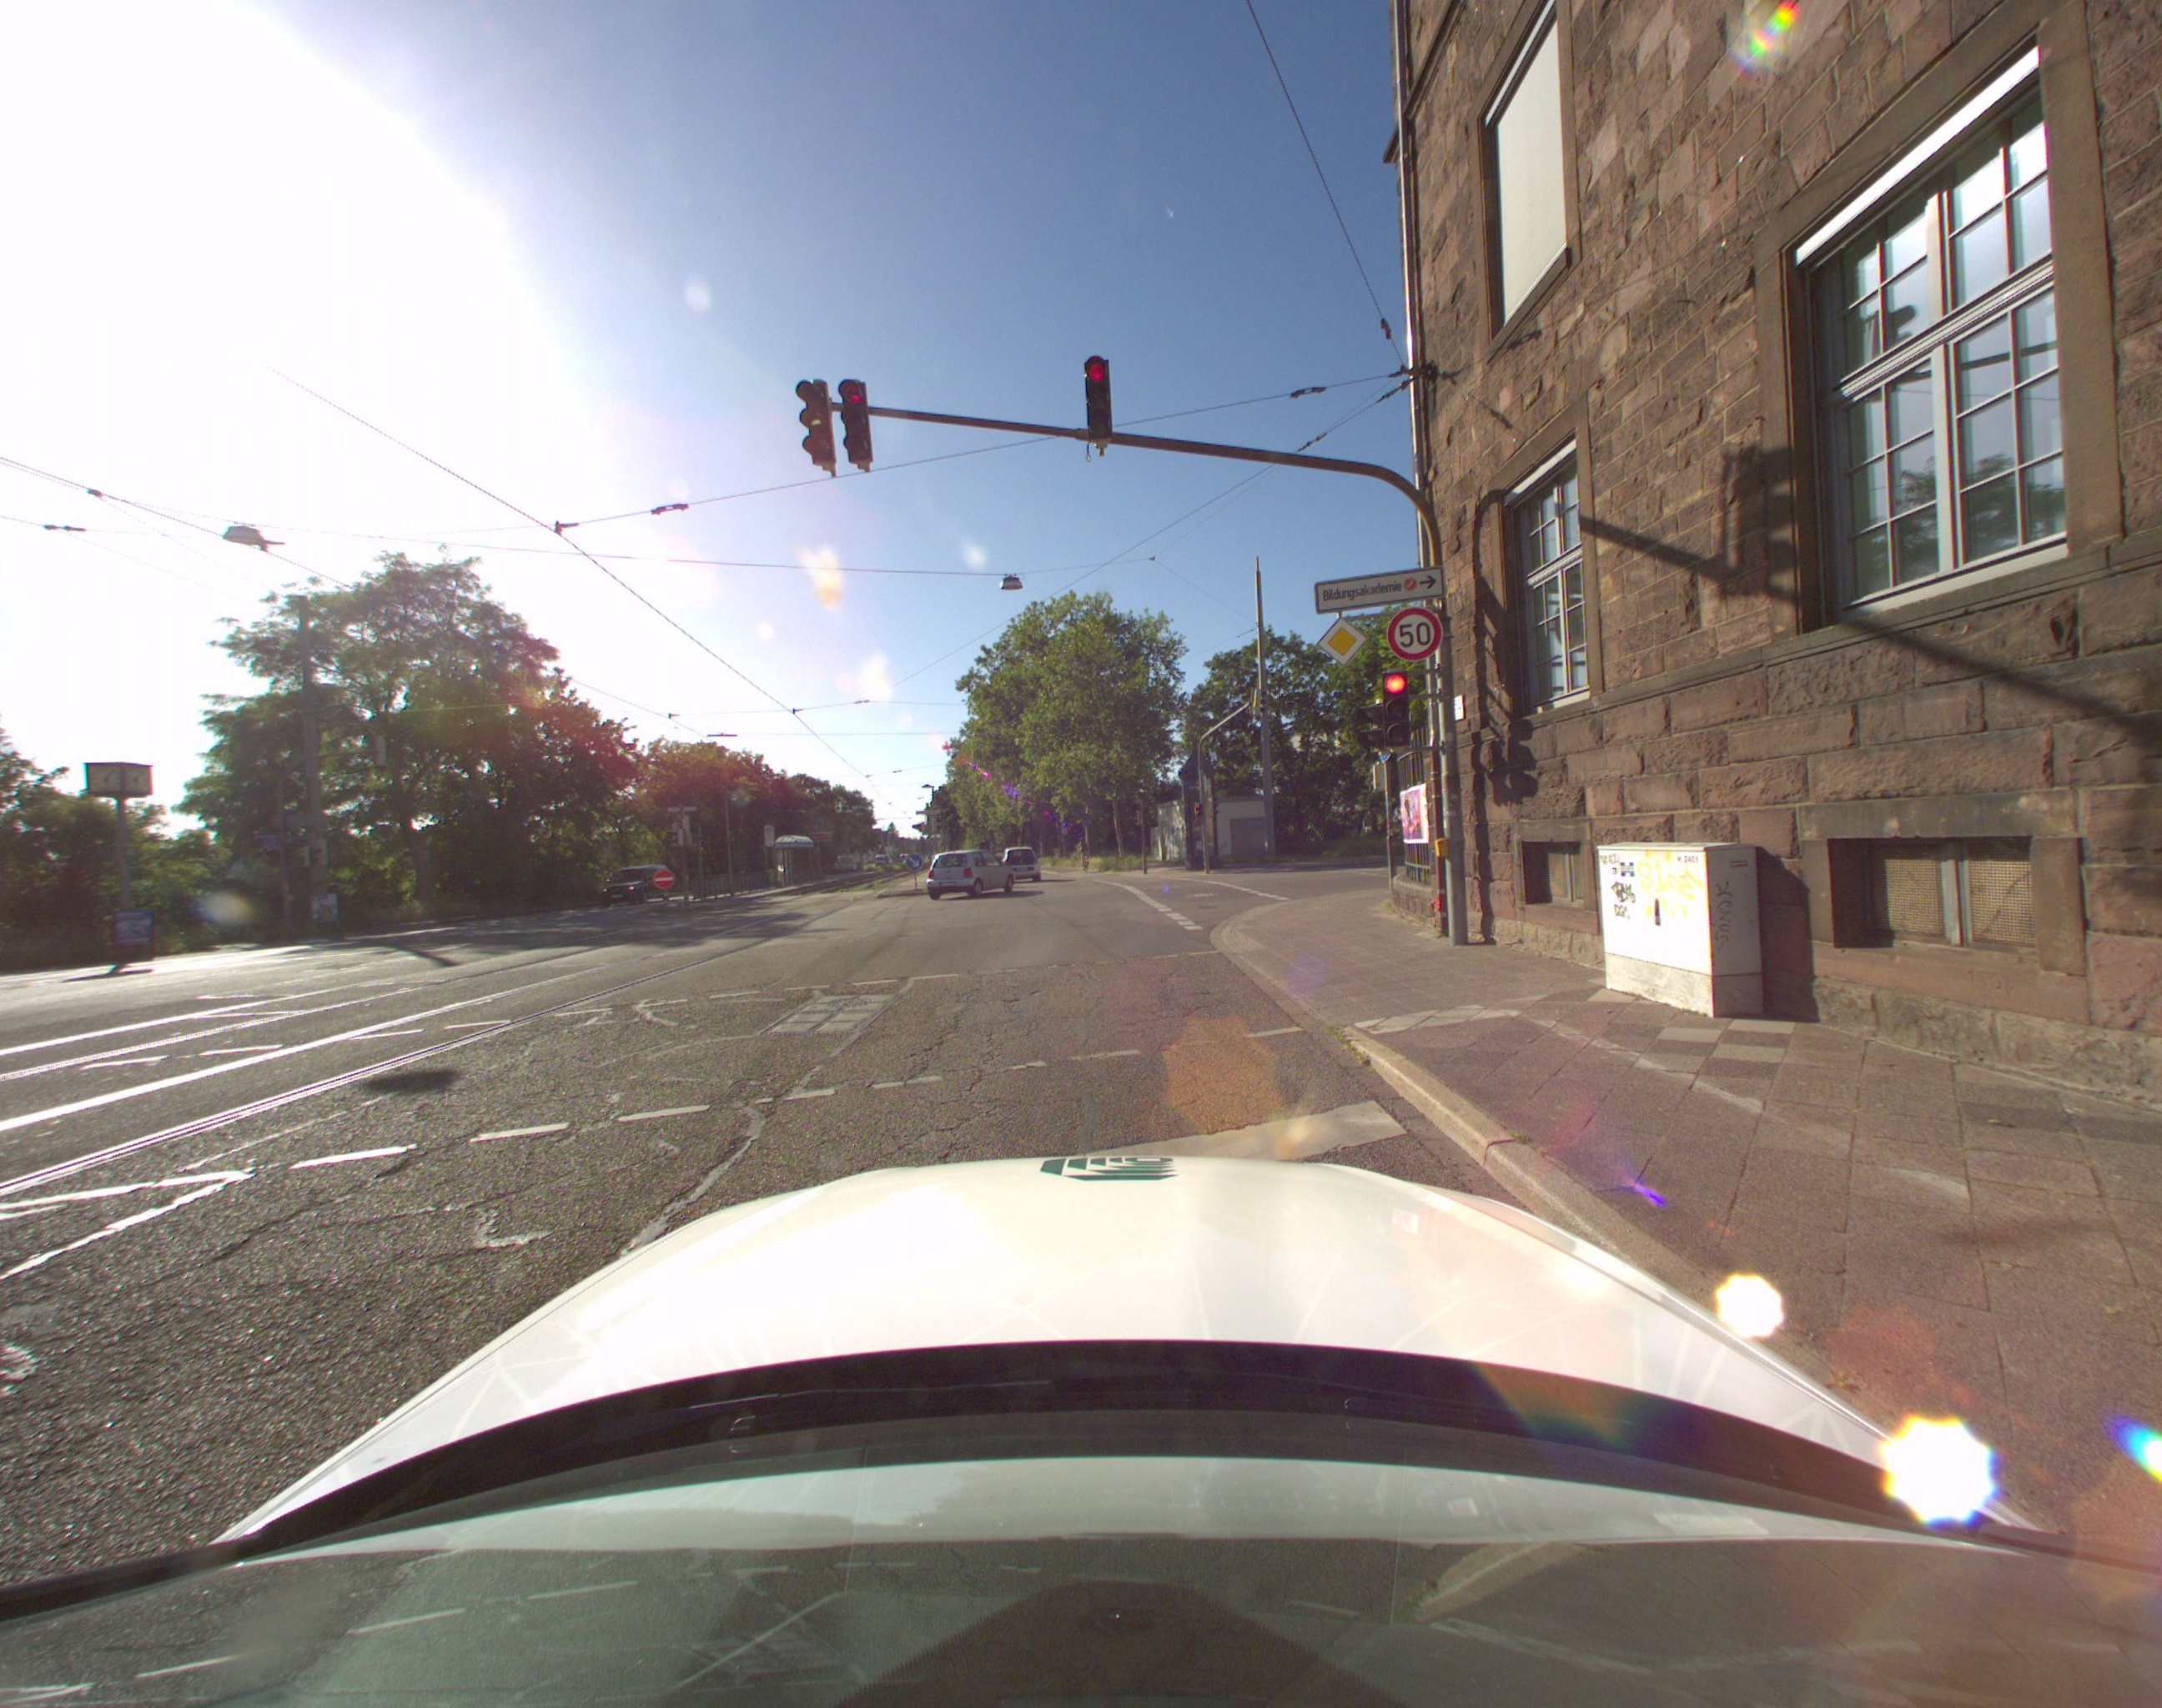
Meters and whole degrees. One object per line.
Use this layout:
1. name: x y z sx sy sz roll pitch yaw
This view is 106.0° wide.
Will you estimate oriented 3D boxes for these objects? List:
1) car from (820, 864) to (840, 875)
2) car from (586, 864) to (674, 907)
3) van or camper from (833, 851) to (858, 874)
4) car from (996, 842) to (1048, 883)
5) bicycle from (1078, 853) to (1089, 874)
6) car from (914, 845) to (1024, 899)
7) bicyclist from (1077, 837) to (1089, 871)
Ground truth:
1. car: -34.399 2.132 111.739 1.919 1.266 3.991 -4 0 -7
2. car: -21.296 1.436 38.746 1.994 1.767 5.014 -4 0 -9
3. van or camper: -35.842 1.261 124.215 2.589 3.106 6.768 -4 0 -9
4. car: -2.665 0.368 36.199 1.751 1.604 3.735 -4 1 -11
5. bicycle: 0.146 0.501 43.510 0.534 1.066 1.434 -4 0 1
6. car: -3.418 0.519 25.517 1.851 1.486 3.574 -3 0 21
7. bicyclist: 0.119 0.002 43.613 0.532 1.769 0.713 -4 0 1
